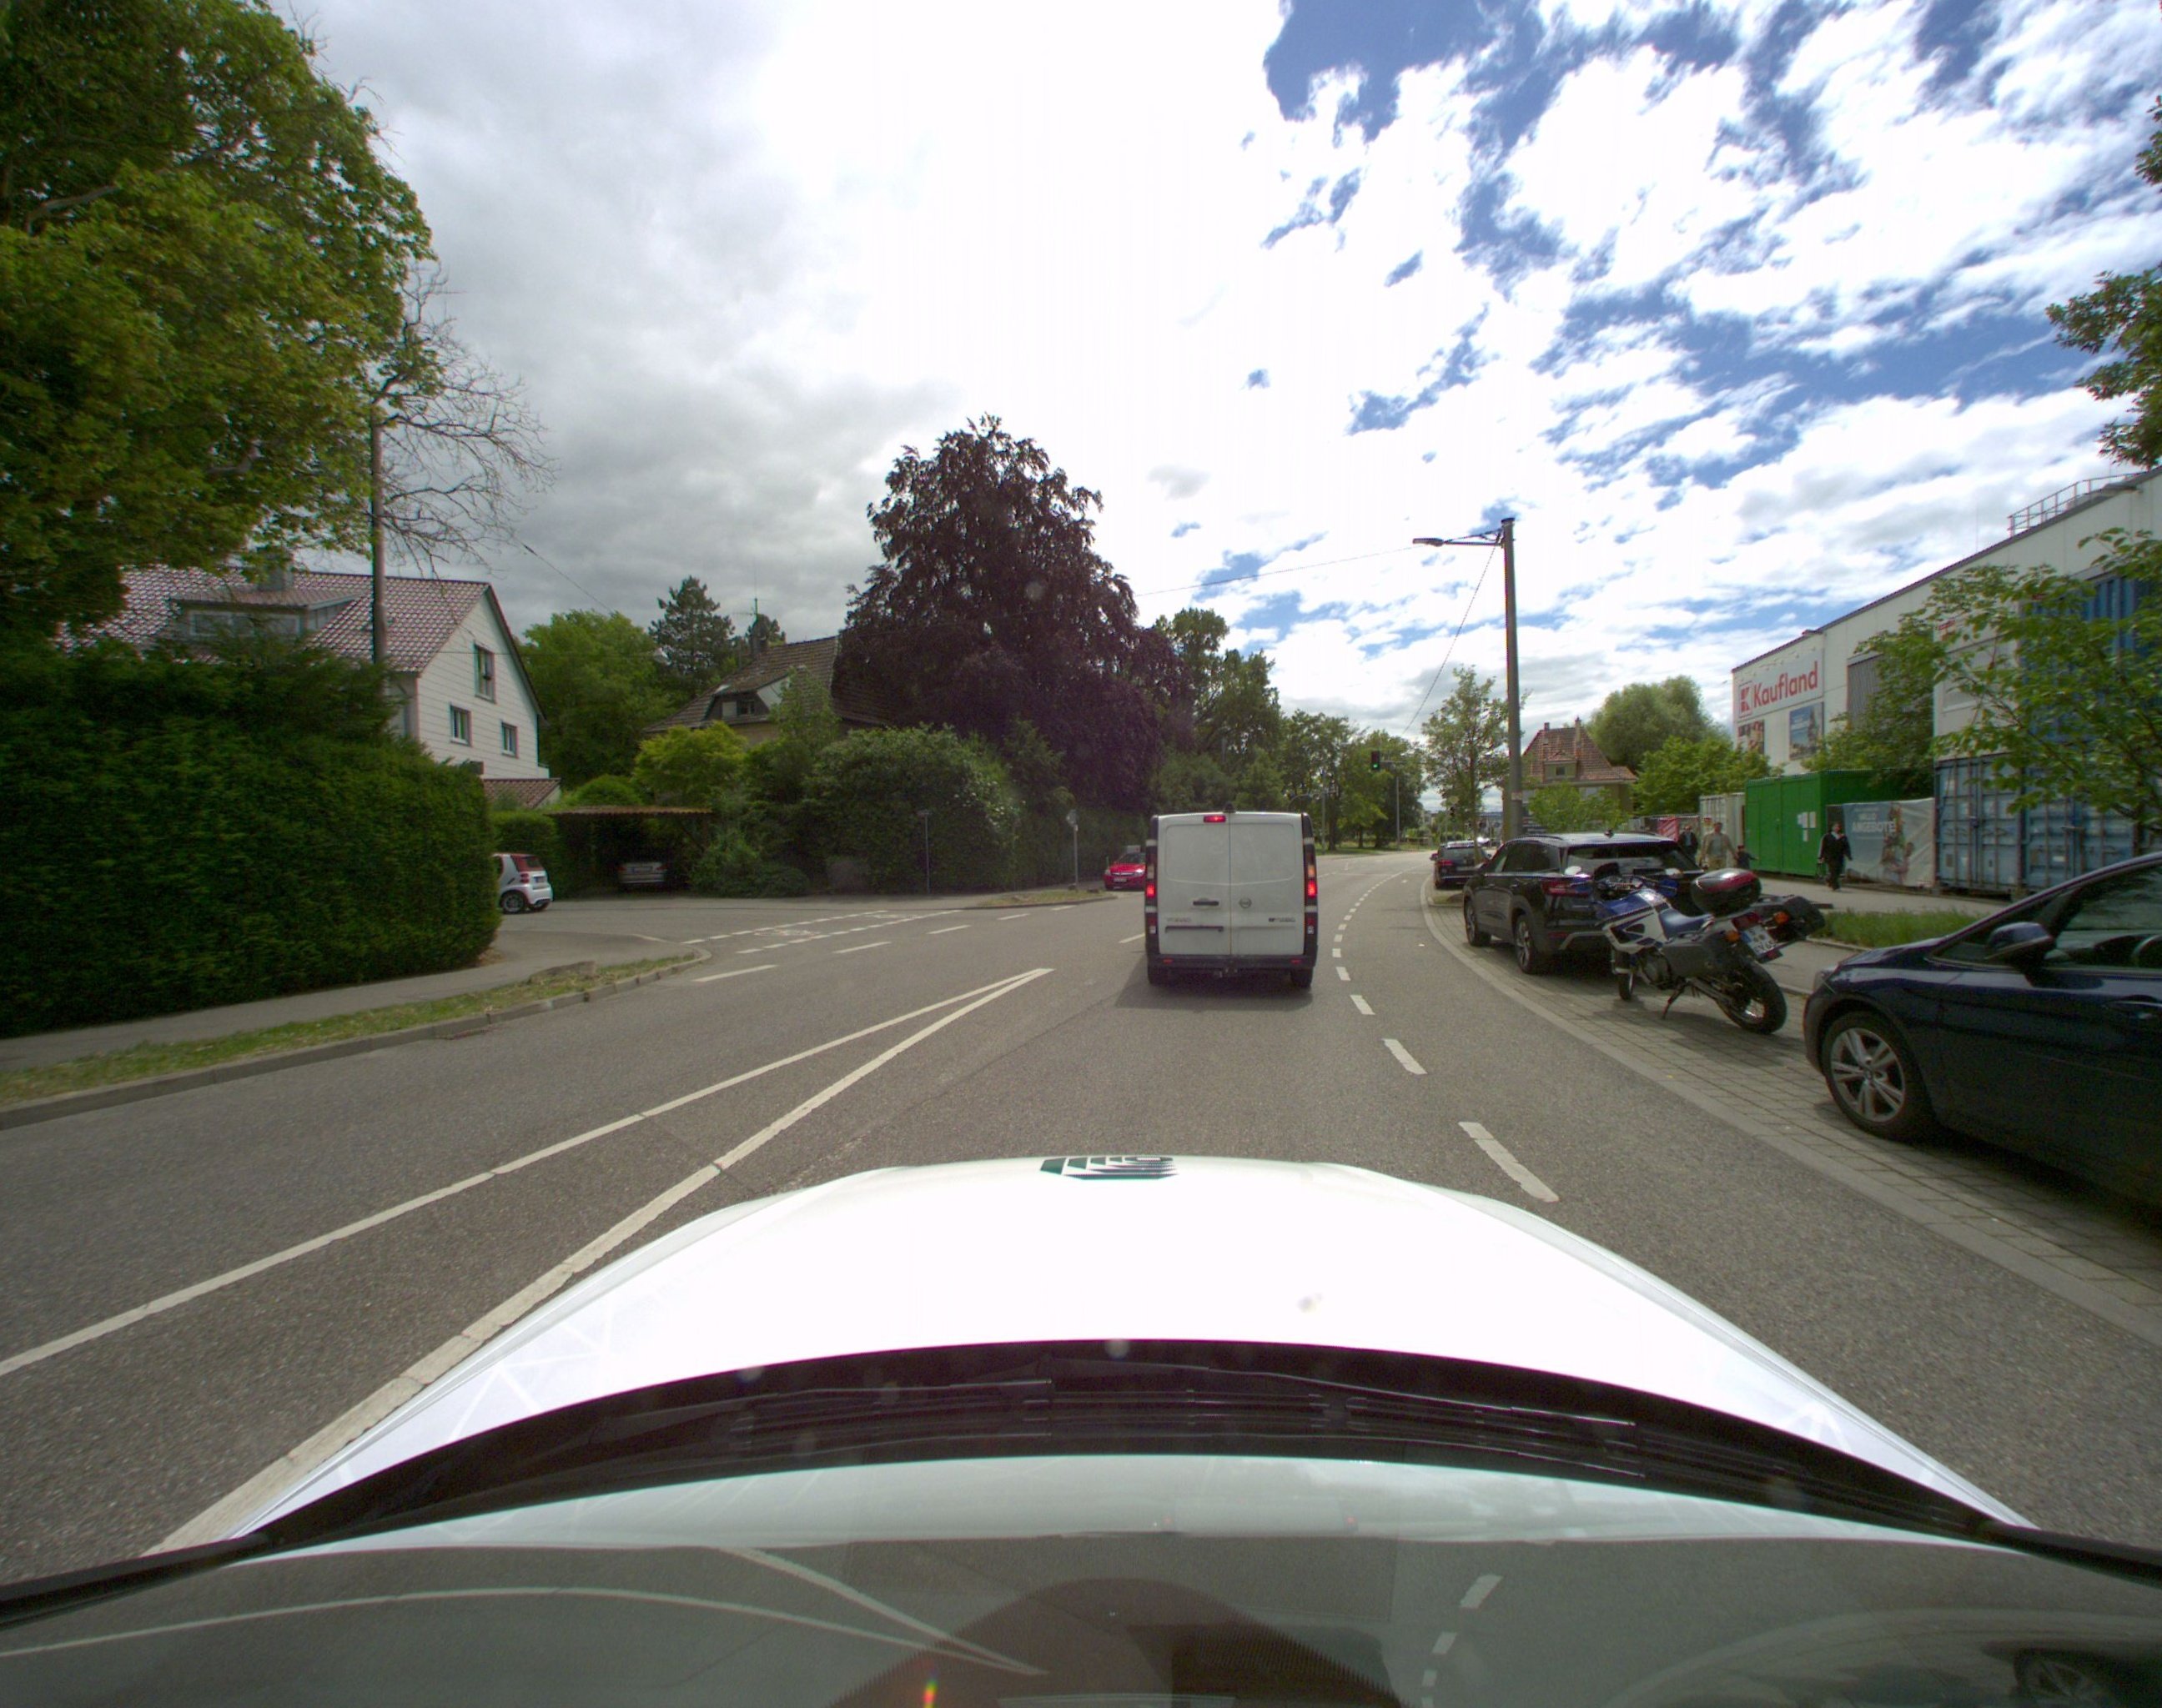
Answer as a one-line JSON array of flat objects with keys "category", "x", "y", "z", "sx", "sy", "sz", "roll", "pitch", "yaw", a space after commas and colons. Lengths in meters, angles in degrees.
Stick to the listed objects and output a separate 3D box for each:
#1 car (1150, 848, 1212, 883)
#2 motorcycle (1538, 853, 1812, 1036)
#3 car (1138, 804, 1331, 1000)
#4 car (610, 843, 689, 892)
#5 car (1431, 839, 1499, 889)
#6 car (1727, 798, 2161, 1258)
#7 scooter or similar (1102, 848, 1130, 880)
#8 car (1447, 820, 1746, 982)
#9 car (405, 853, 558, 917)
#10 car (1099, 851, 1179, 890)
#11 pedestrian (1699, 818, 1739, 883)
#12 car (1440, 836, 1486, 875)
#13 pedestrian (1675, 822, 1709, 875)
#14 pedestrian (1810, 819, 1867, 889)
[{"category": "car", "x": 4.561, "y": 0.456, "z": 36.643, "sx": 1.635, "sy": 1.450, "sz": 4.128, "roll": 0, "pitch": 1, "yaw": 23}, {"category": "motorcycle", "x": 5.062, "y": 0.691, "z": 7.219, "sx": 1.064, "sy": 1.305, "sz": 2.268, "roll": -4, "pitch": 0, "yaw": 12}, {"category": "car", "x": 1.977, "y": 0.429, "z": 10.658, "sx": 1.926, "sy": 1.960, "sz": 4.848, "roll": 0, "pitch": 1, "yaw": 10}, {"category": "car", "x": -14.509, "y": 0.382, "z": 27.589, "sx": 1.728, "sy": 1.509, "sz": 3.975, "roll": -1, "pitch": 1, "yaw": -19}, {"category": "car", "x": 13.128, "y": 0.297, "z": 28.067, "sx": 1.749, "sy": 1.477, "sz": 4.962, "roll": -4, "pitch": -1, "yaw": 22}, {"category": "car", "x": 4.656, "y": 0.554, "z": 2.850, "sx": 1.904, "sy": 1.578, "sz": 4.444, "roll": -3, "pitch": 0, "yaw": 11}, {"category": "scooter or similar", "x": 1.636, "y": 0.458, "z": 37.526, "sx": 0.664, "sy": 1.412, "sz": 1.659, "roll": 0, "pitch": 1, "yaw": 25}, {"category": "car", "x": 6.370, "y": 0.489, "z": 10.802, "sx": 1.865, "sy": 1.621, "sz": 4.865, "roll": -3, "pitch": 0, "yaw": 14}, {"category": "car", "x": -15.412, "y": 0.748, "z": 21.079, "sx": 2.773, "sy": 1.555, "sz": 1.582, "roll": 0, "pitch": 0, "yaw": -14}, {"category": "car", "x": 2.360, "y": 0.595, "z": 31.783, "sx": 1.645, "sy": 1.378, "sz": 4.592, "roll": 0, "pitch": 1, "yaw": 24}, {"category": "pedestrian", "x": 17.117, "y": -0.090, "z": 21.872, "sx": 0.645, "sy": 1.696, "sz": 0.729, "roll": -1, "pitch": 0, "yaw": 22}, {"category": "car", "x": 17.678, "y": 0.049, "z": 37.764, "sx": 1.721, "sy": 1.616, "sz": 4.412, "roll": -4, "pitch": -1, "yaw": 24}, {"category": "pedestrian", "x": 19.887, "y": -0.185, "z": 26.525, "sx": 0.646, "sy": 1.697, "sz": 0.849, "roll": -1, "pitch": 0, "yaw": 21}, {"category": "pedestrian", "x": 17.887, "y": -0.007, "z": 19.242, "sx": 0.736, "sy": 1.618, "sz": 0.771, "roll": -1, "pitch": 0, "yaw": 21}]
